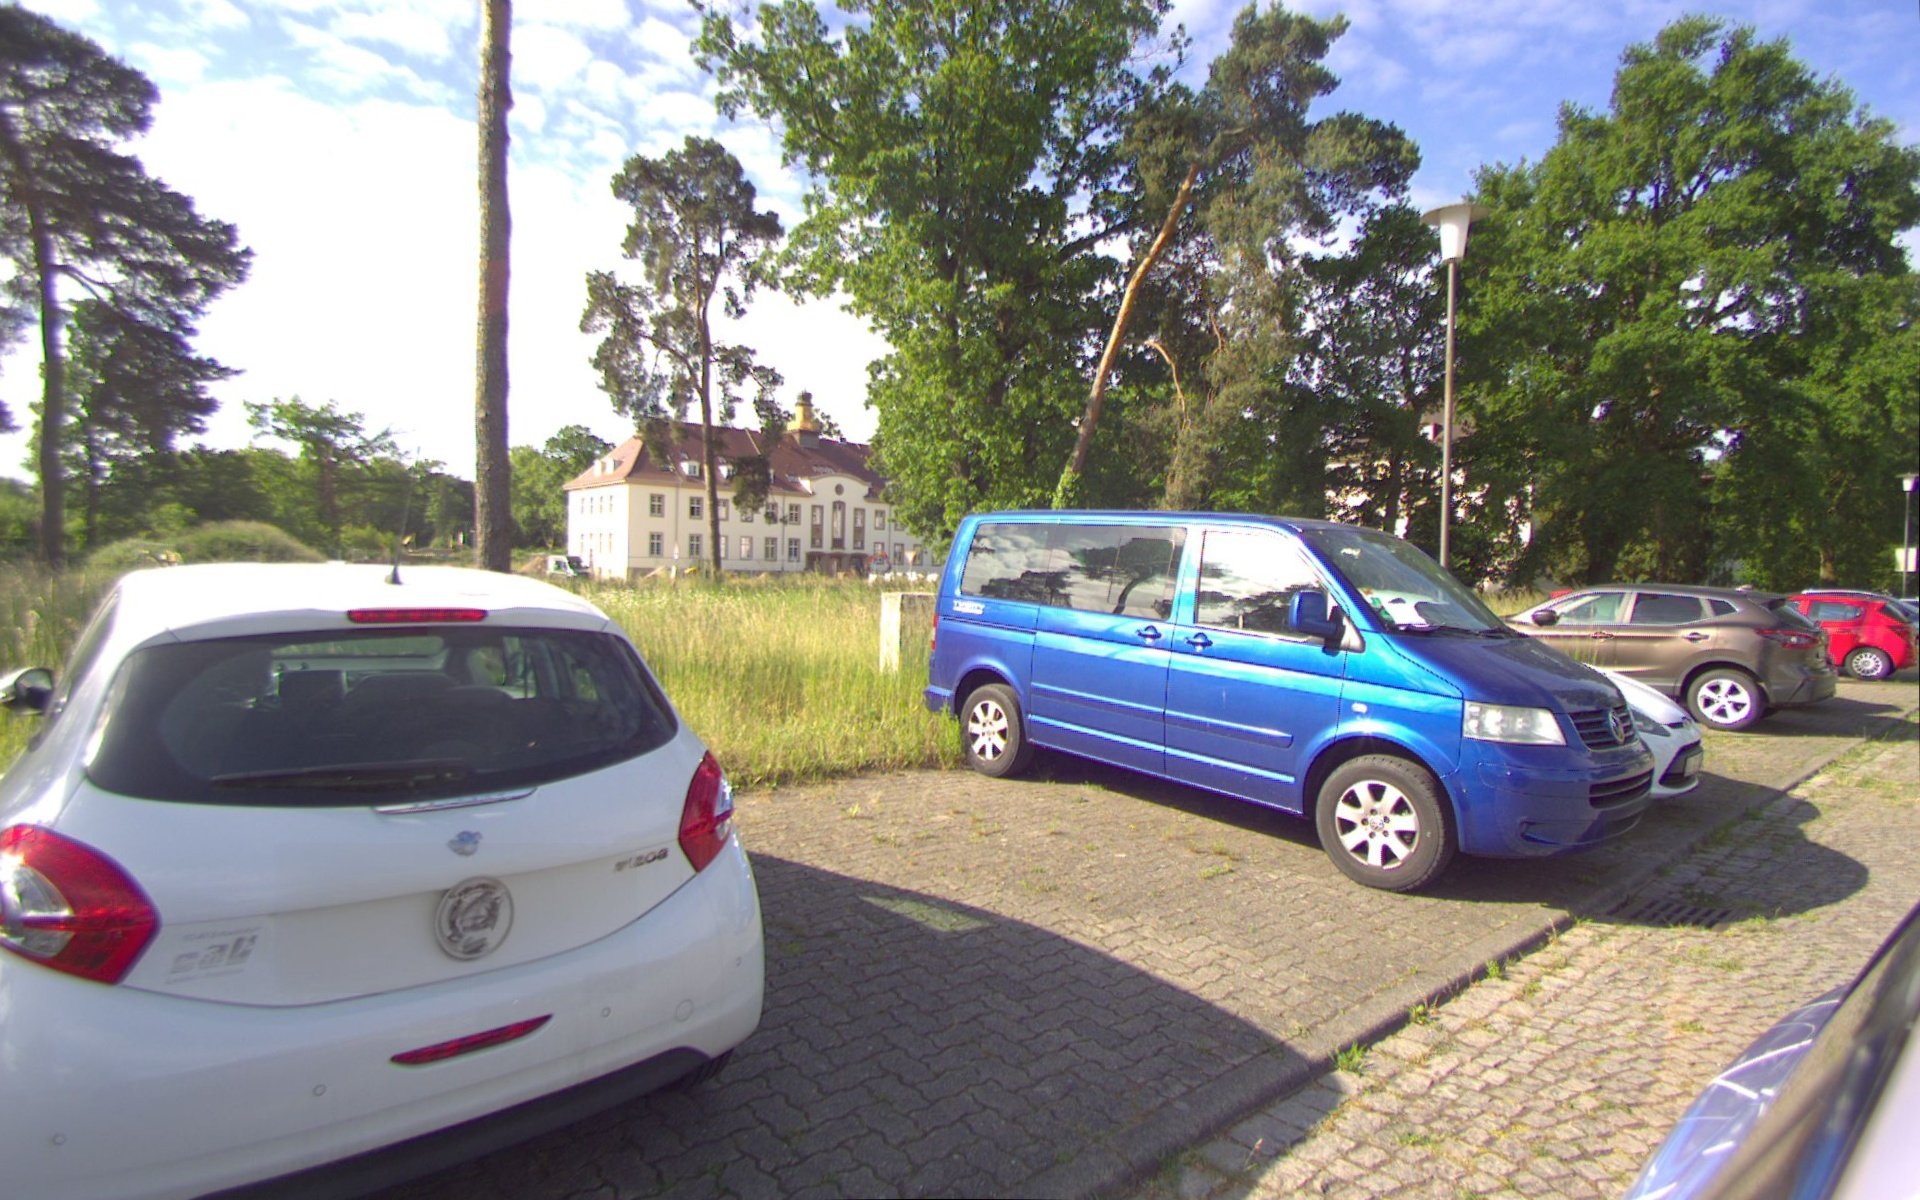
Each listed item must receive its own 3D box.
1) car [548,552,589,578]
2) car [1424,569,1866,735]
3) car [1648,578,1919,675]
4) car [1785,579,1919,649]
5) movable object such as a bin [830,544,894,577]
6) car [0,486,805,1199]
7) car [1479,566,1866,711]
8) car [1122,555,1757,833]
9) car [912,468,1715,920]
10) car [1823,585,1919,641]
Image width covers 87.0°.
[{"bbox_3d":[-35.977,-3.153,92.873,1.967,2.240,4.423,-1,1,-44],"label":"car"},{"bbox_3d":[8.353,0.471,12.640,1.902,1.617,4.232,-1,3,-43],"label":"car"},{"bbox_3d":[15.947,0.429,19.482,1.821,1.477,4.096,1,3,-41],"label":"car"},{"bbox_3d":[23.815,0.368,25.739,1.821,1.576,4.096,1,3,-41],"label":"car"},{"bbox_3d":[-10.480,-4.221,108.135,6.337,3.342,2.862,-1,0,7],"label":"movable object such as a bin"},{"bbox_3d":[-2.311,0.455,3.807,1.729,1.553,3.717,1,3,-39],"label":"car"},{"bbox_3d":[10.137,0.409,14.652,1.902,1.617,4.233,-1,4,-43],"label":"car"},{"bbox_3d":[3.698,0.500,8.530,1.905,1.596,4.408,0,4,-40],"label":"car"},{"bbox_3d":[1.907,0.262,6.808,1.965,1.959,4.709,0,4,-40],"label":"car"},{"bbox_3d":[27.329,0.427,28.709,1.754,1.440,4.096,1,3,-41],"label":"car"}]
